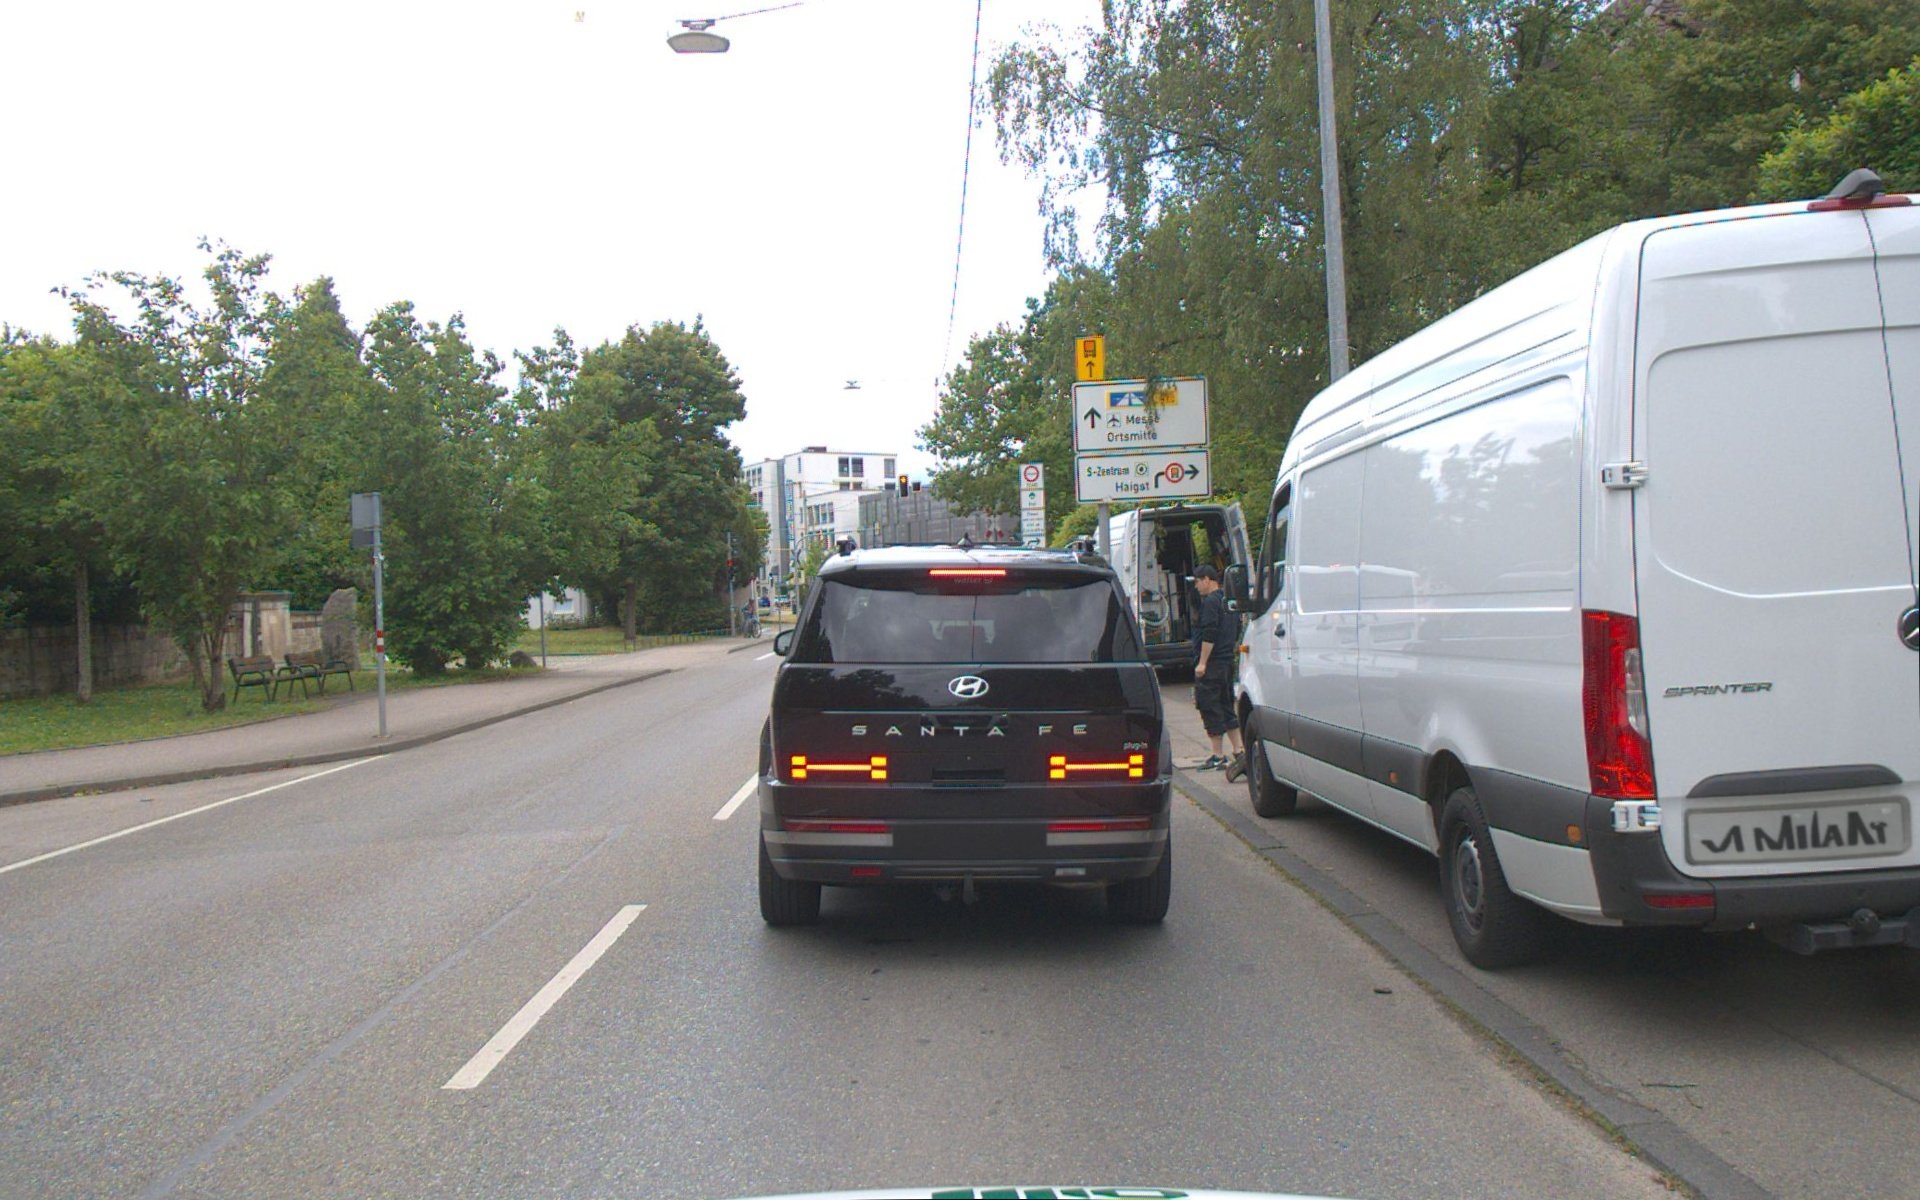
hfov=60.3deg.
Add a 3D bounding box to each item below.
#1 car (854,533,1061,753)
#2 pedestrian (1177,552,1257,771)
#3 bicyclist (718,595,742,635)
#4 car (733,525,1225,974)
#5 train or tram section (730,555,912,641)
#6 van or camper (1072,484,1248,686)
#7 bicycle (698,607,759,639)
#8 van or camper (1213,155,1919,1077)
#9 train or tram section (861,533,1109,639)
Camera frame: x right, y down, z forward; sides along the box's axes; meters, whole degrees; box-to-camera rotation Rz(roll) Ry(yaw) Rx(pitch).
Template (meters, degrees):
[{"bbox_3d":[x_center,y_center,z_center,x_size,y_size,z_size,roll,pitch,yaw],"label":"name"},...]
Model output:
[{"bbox_3d":[-0.076,0.395,17.529,1.924,2.036,3.999,-1,0,-2],"label":"car"},{"bbox_3d":[2.142,0.507,13.752,0.604,1.774,0.606,-1,-2,13],"label":"pedestrian"},{"bbox_3d":[-9.633,0.634,69.336,0.837,1.688,0.678,-1,-2,8],"label":"bicyclist"},{"bbox_3d":[0.026,0.579,8.520,1.924,1.741,3.999,-1,0,-2],"label":"car"},{"bbox_3d":[-8.692,0.098,98.920,3.160,4.602,18.487,0,-2,-31],"label":"train or tram section"},{"bbox_3d":[3.117,-0.226,26.940,1.924,2.845,5.285,-4,0,-2],"label":"van or camper"},{"bbox_3d":[-9.704,0.963,69.337,2.439,1.302,0.678,-1,-2,8],"label":"bicycle"},{"bbox_3d":[2.860,-0.003,8.107,1.924,2.673,6.356,-4,0,-2],"label":"van or camper"},{"bbox_3d":[0.705,-0.420,83.011,3.161,4.602,18.483,0,-2,-31],"label":"train or tram section"}]
